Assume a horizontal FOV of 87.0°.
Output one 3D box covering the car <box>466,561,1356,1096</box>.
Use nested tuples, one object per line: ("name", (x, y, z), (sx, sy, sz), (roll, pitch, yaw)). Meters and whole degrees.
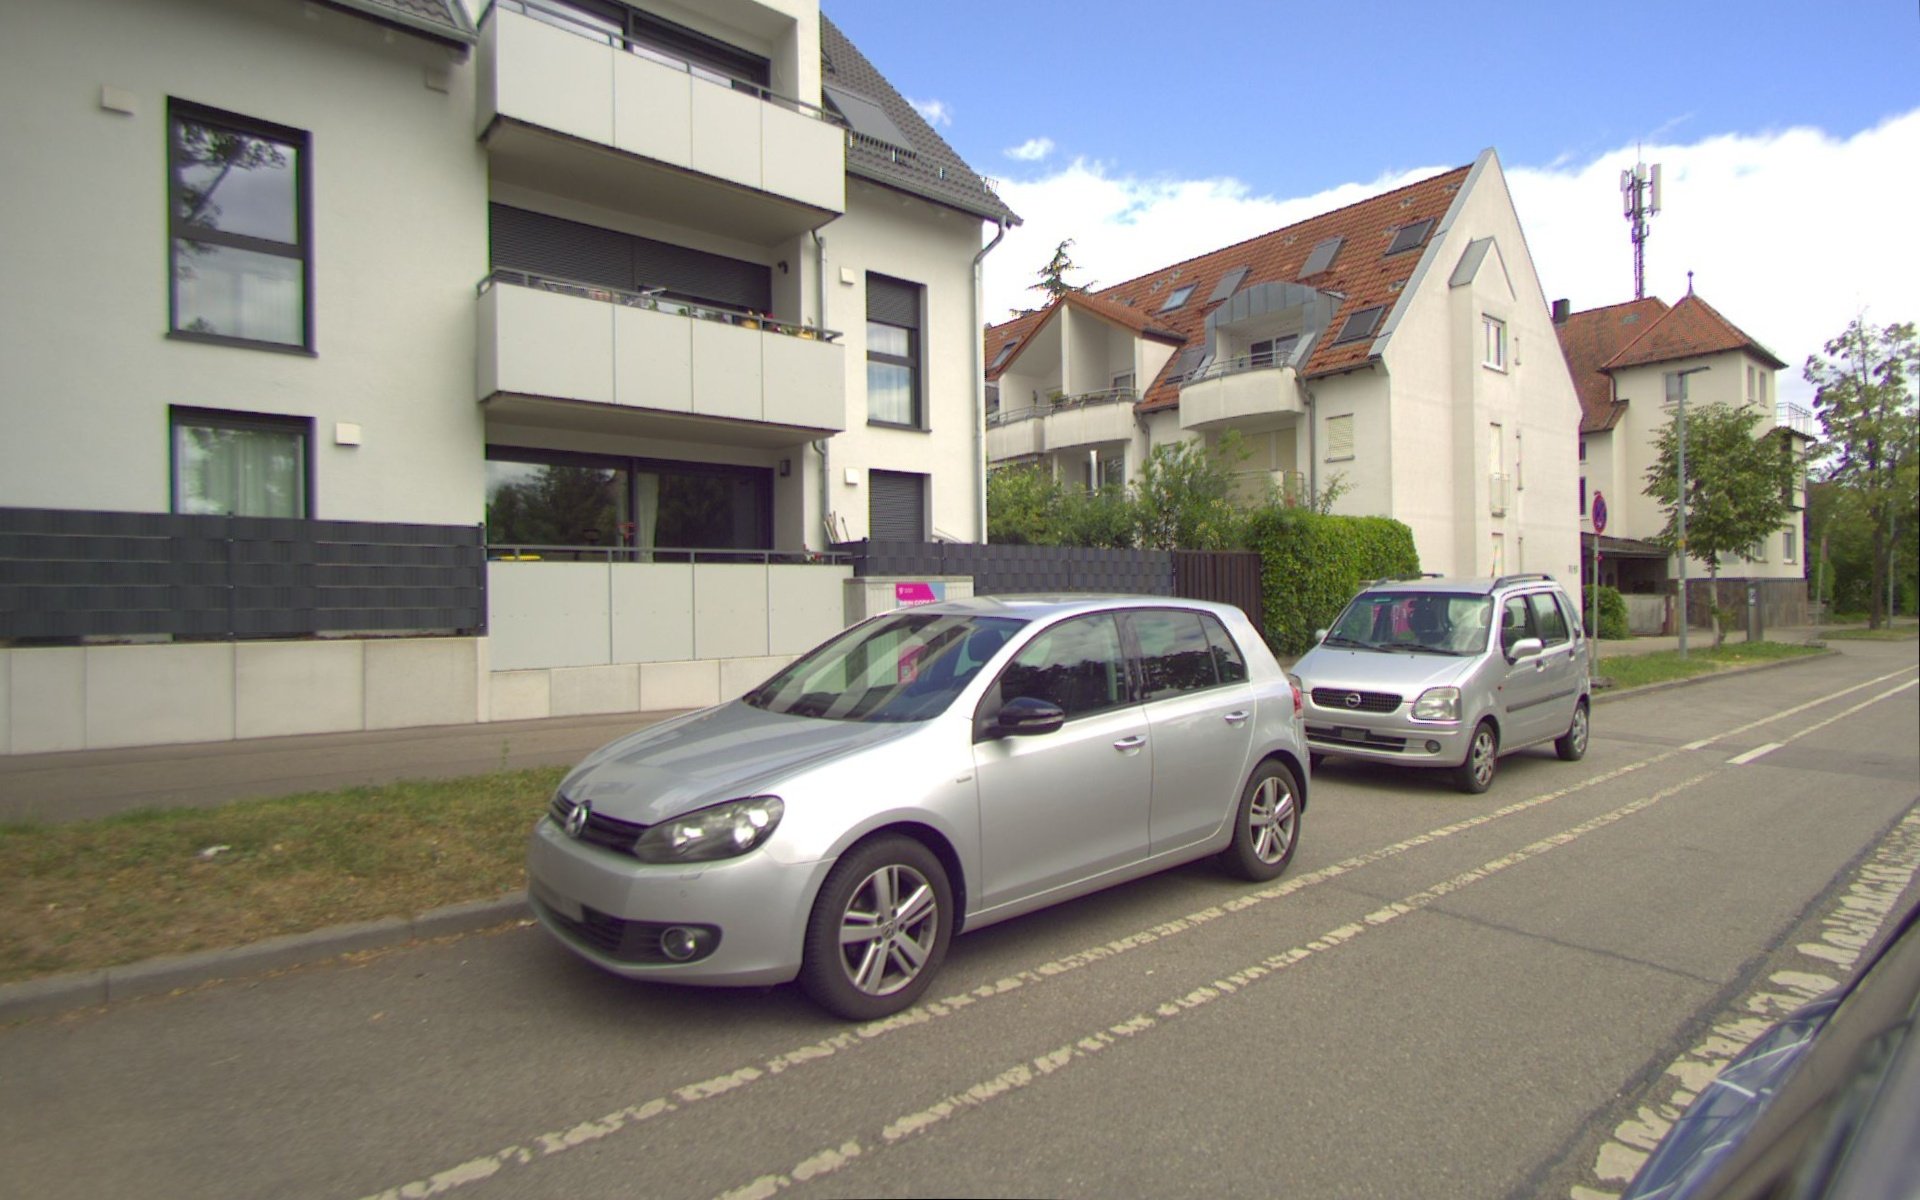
("car", (0.085, 0.622, 4.873), (4.154, 1.512, 1.690), (0, 1, -41))

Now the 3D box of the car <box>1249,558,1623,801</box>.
("car", (4.252, 0.535, 8.830), (3.584, 1.686, 1.635), (0, 0, -41))
